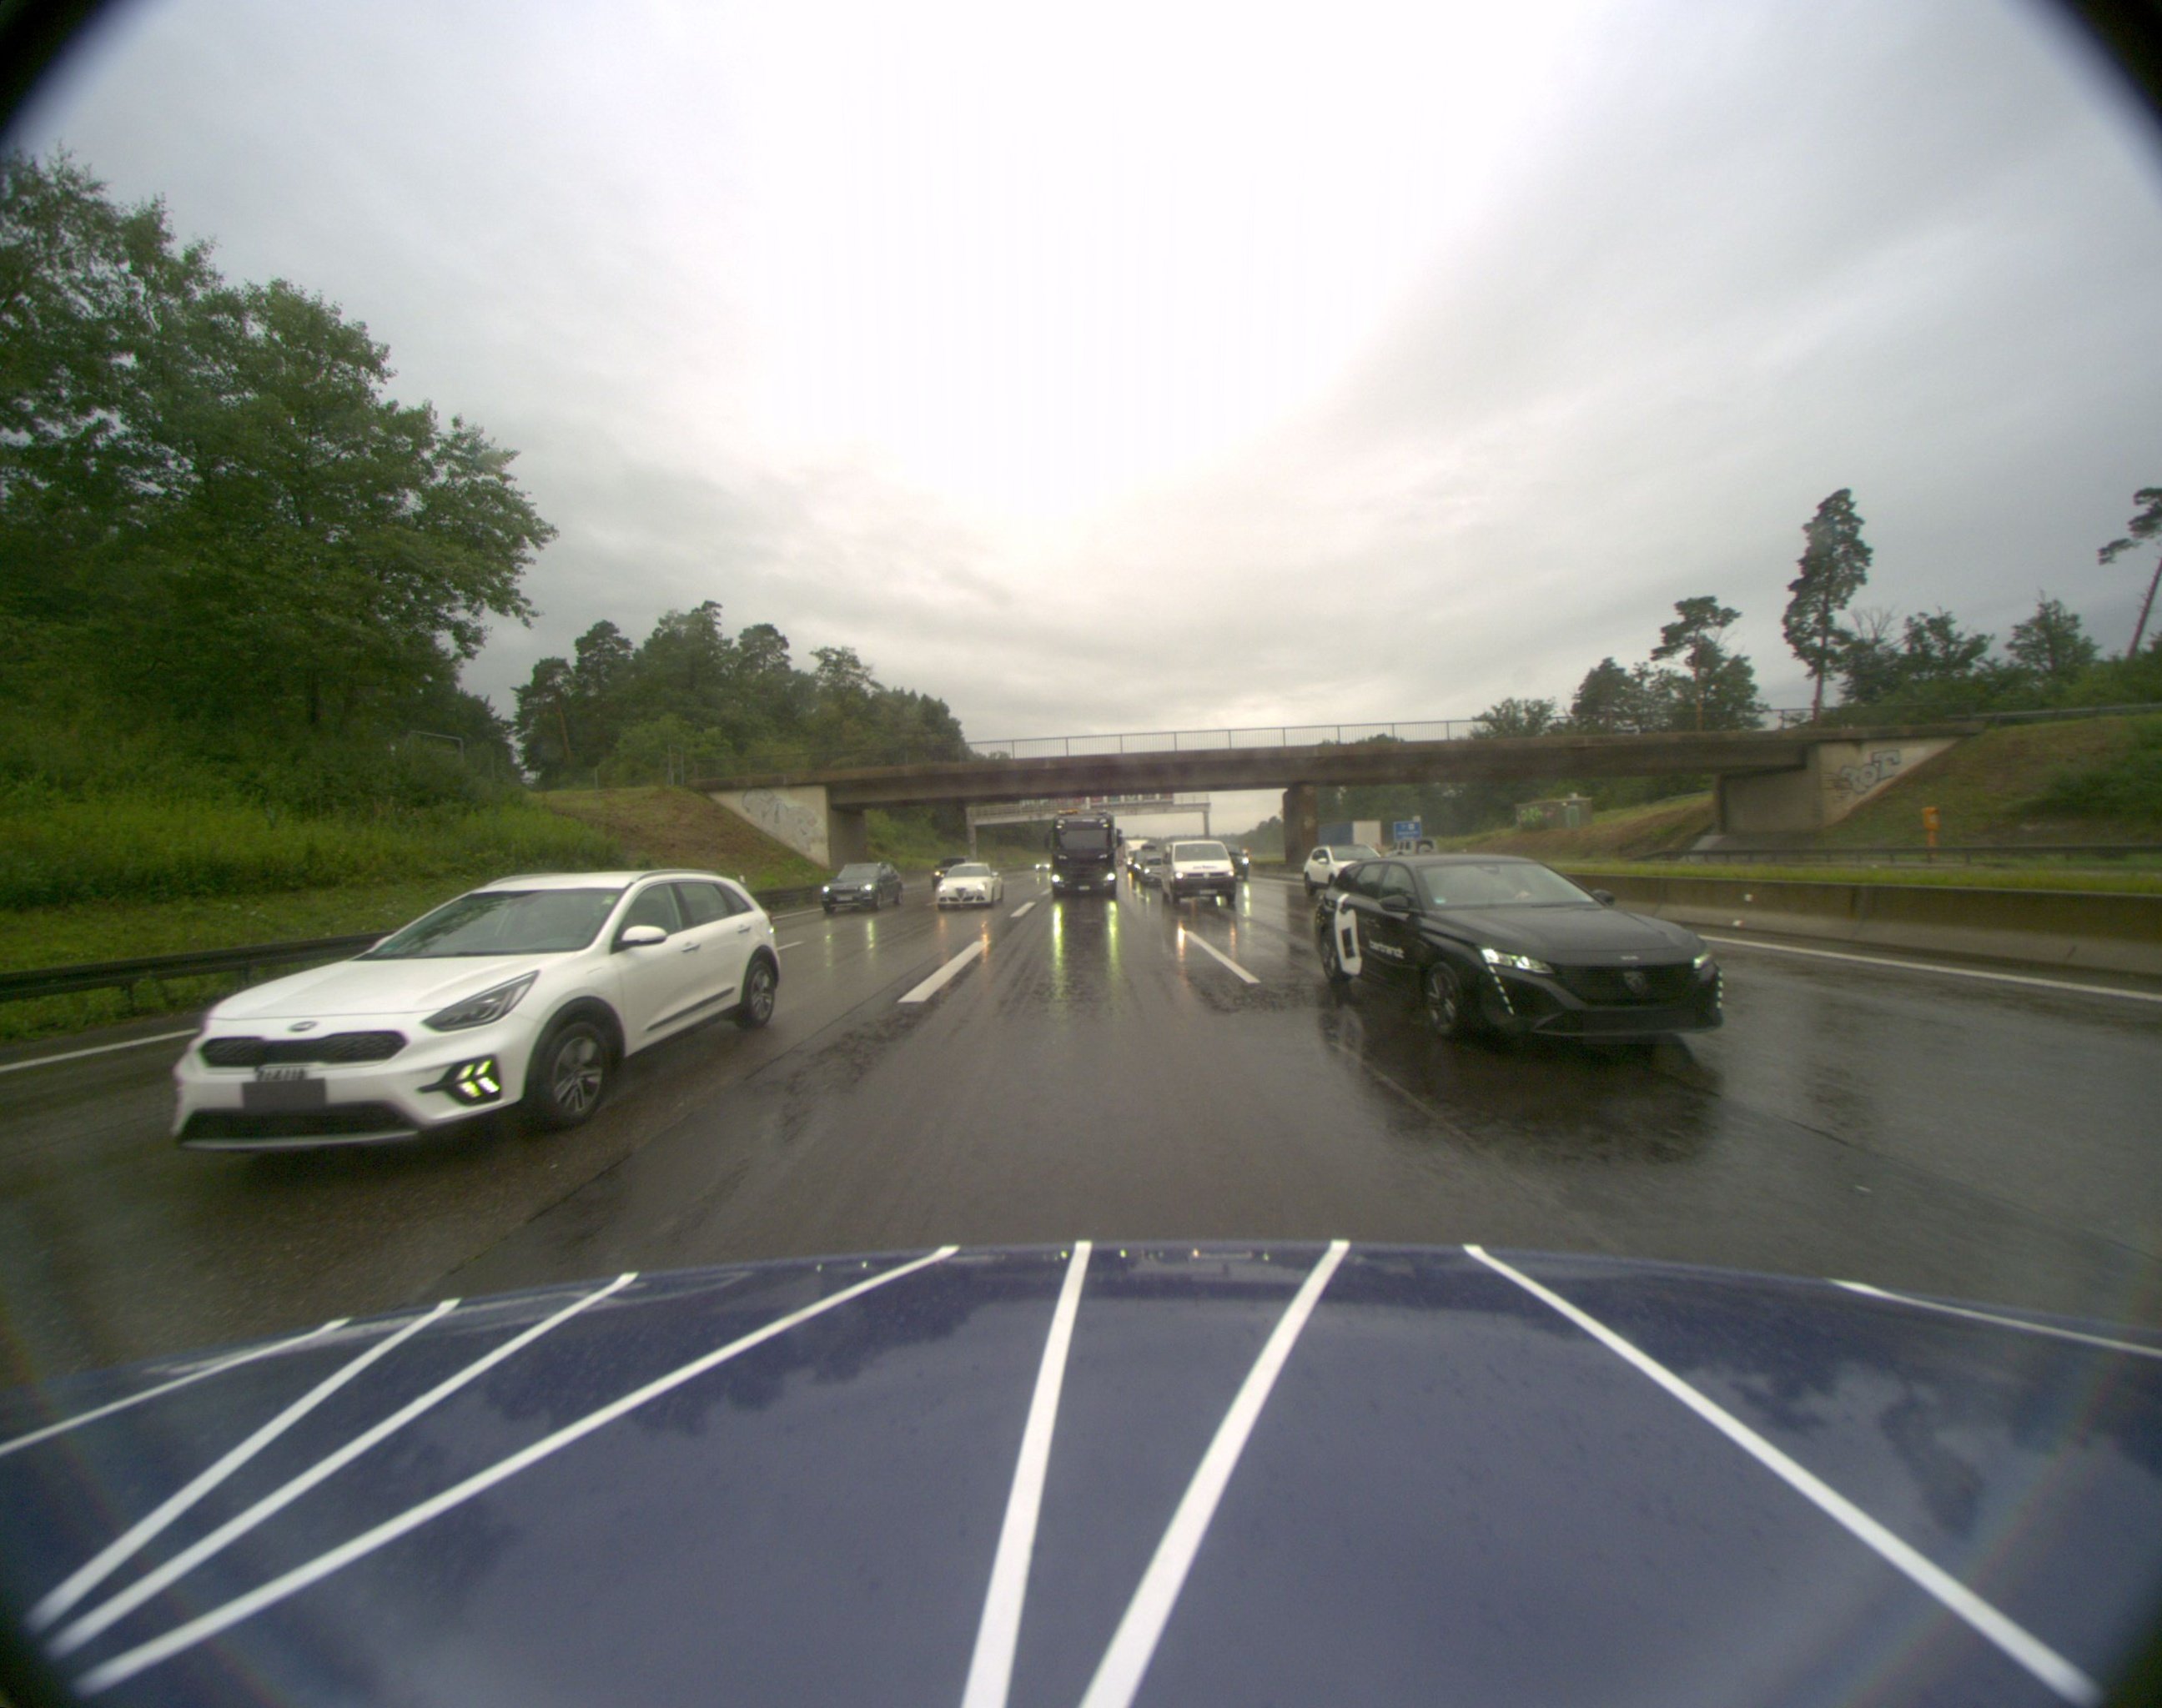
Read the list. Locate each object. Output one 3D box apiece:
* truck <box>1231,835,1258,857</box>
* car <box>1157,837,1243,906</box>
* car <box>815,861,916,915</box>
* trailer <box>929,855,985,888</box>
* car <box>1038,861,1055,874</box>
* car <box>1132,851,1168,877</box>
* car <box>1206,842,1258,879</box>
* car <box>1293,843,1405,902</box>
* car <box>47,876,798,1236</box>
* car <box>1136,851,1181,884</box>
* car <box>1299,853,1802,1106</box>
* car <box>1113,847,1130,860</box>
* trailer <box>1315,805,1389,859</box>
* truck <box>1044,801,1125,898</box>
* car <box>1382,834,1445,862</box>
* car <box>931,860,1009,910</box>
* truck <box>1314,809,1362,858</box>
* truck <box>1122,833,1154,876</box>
[{"bbox_3d":[24.738,-1.207,115.051,2.763,3.007,7.711,-2,0,3],"label":"truck"},{"bbox_3d":[3.635,0.493,24.074,1.995,1.869,4.767,-2,0,1],"label":"car"},{"bbox_3d":[-7.371,1.104,26.537,1.995,1.574,4.767,-2,0,1],"label":"car"},{"bbox_3d":[-7.007,0.947,43.541,2.249,1.704,5.082,-2,0,1],"label":"trailer"},{"bbox_3d":[-4.146,1.612,91.591,1.795,1.399,4.228,-2,0,1],"label":"car"},{"bbox_3d":[4.486,0.602,50.059,1.995,1.551,4.767,-2,0,1],"label":"car"},{"bbox_3d":[8.603,0.346,43.706,1.996,1.933,5.242,-2,1,1],"label":"car"},{"bbox_3d":[8.057,0.500,23.322,1.850,1.582,4.466,-2,0,1],"label":"car"},{"bbox_3d":[-3.951,1.033,5.800,1.850,1.514,4.343,-2,0,1],"label":"car"},{"bbox_3d":[3.866,0.647,38.584,1.850,1.496,4.466,-2,1,1],"label":"car"},{"bbox_3d":[3.556,0.782,6.952,1.850,1.496,4.466,-2,0,1],"label":"car"},{"bbox_3d":[5.271,-0.082,99.579,1.995,1.551,4.767,-2,0,1],"label":"car"},{"bbox_3d":[26.509,-2.036,75.226,3.213,4.785,13.348,-2,0,3],"label":"trailer"},{"bbox_3d":[0.243,-0.251,33.698,2.879,3.528,10.910,-2,1,1],"label":"truck"},{"bbox_3d":[20.419,-0.360,46.828,1.934,1.582,4.466,-2,0,1],"label":"car"},{"bbox_3d":[-3.661,0.994,25.952,1.894,1.417,4.482,-2,0,1],"label":"car"},{"bbox_3d":[26.858,-2.067,79.564,3.213,4.786,5.621,-2,0,3],"label":"truck"},{"bbox_3d":[5.622,0.056,75.661,2.521,3.941,6.994,-2,0,1],"label":"truck"}]
